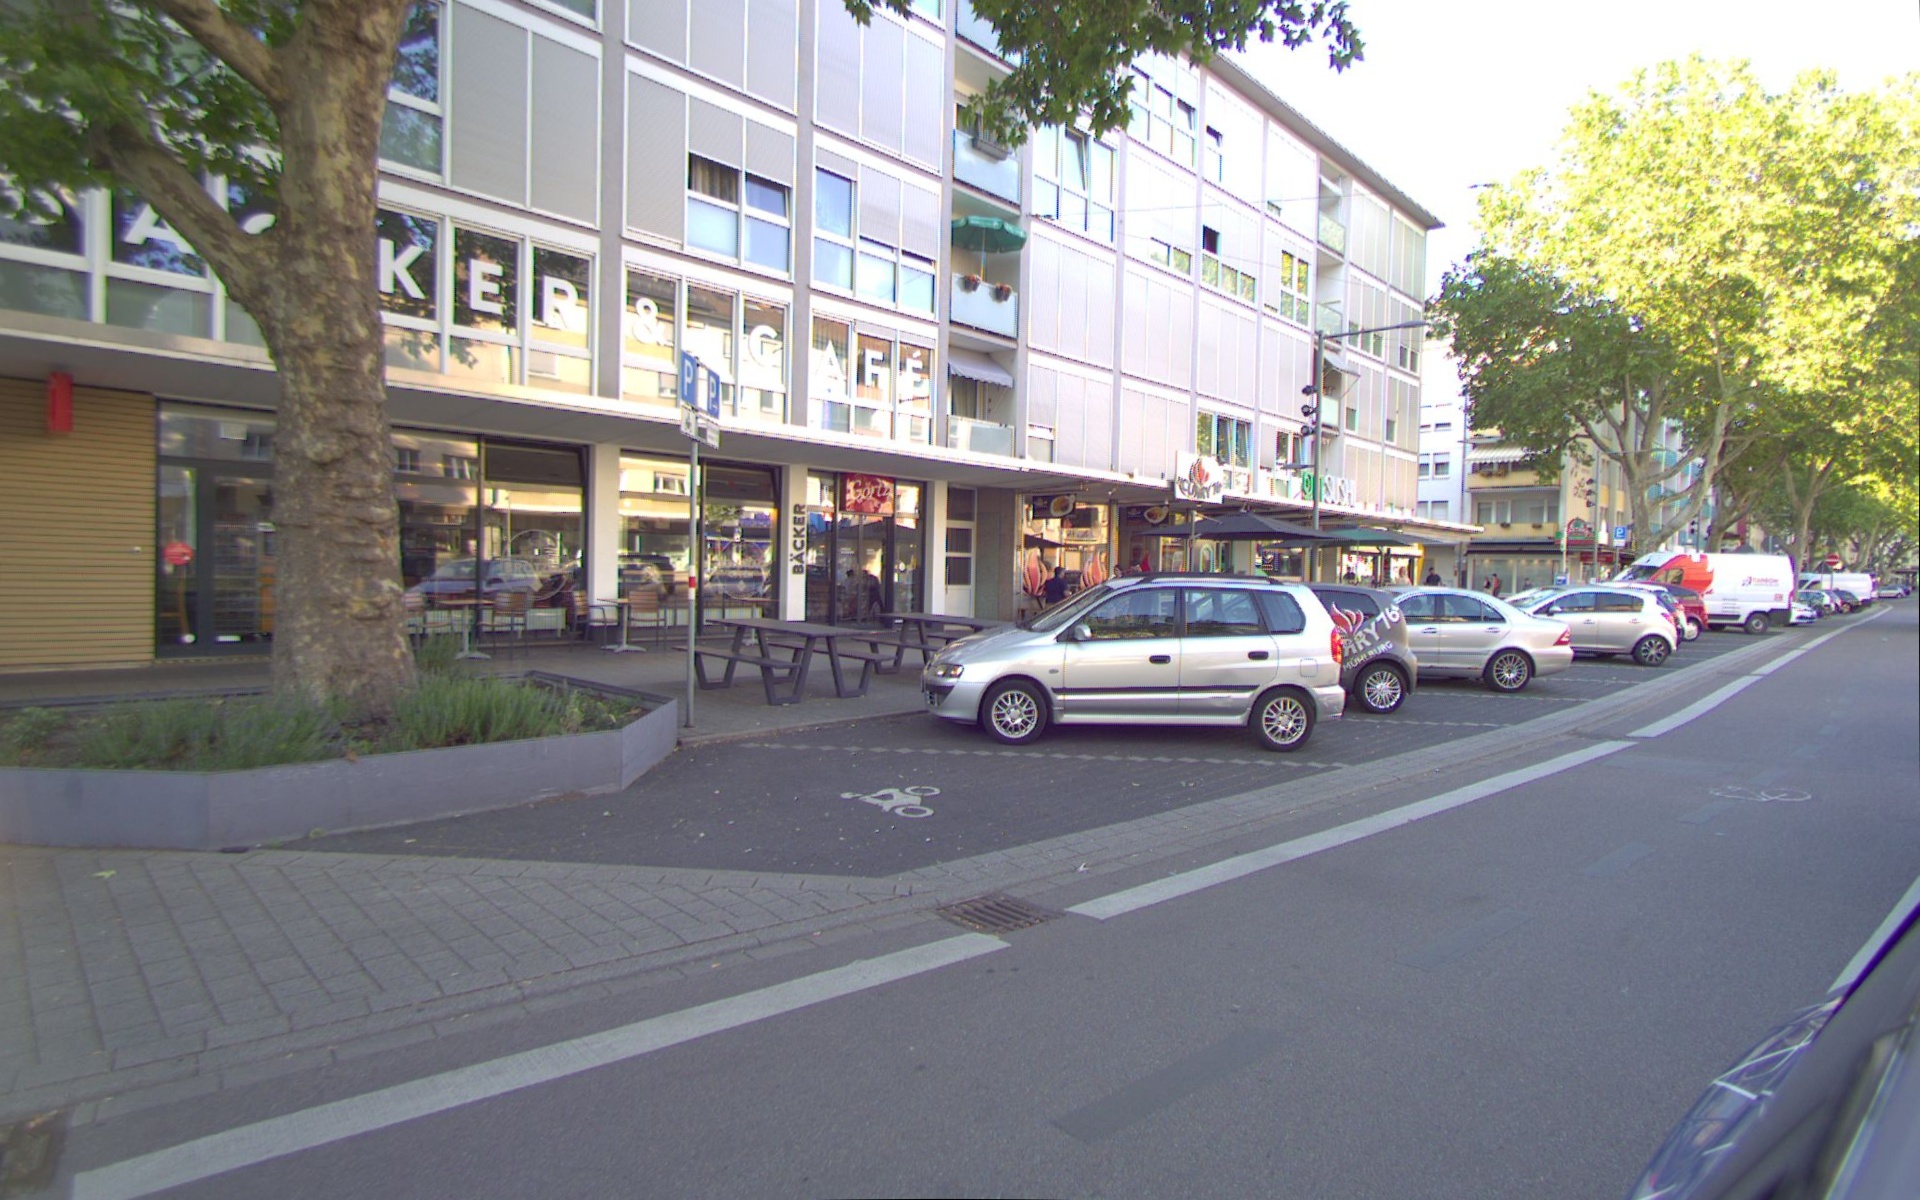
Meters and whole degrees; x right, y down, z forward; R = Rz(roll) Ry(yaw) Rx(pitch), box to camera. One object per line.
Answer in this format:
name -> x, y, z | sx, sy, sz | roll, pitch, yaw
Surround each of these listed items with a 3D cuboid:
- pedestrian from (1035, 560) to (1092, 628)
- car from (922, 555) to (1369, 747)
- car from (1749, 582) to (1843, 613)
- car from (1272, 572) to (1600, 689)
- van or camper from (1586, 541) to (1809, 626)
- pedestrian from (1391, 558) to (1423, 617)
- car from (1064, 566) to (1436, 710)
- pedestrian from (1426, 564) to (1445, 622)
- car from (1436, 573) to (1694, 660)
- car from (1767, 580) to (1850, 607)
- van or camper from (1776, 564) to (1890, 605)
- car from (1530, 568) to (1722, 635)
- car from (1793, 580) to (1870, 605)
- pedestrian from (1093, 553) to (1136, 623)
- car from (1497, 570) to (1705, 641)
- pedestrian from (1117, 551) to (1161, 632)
pedestrian -> 2.196, -0.137, 21.428 | 0.945, 1.379, 0.750 | 0, 2, -41
car -> 1.632, 0.429, 9.886 | 3.921, 1.626, 1.811 | 1, 2, -3
car -> 41.872, -0.153, 50.738 | 3.271, 1.363, 1.530 | 2, 3, 5
car -> 6.820, 0.401, 14.813 | 3.926, 1.453, 1.660 | 2, 3, 2
van or camper -> 23.323, -0.548, 32.194 | 5.366, 2.499, 1.998 | 1, 2, 5
pedestrian -> 12.613, -0.358, 28.563 | 0.537, 1.610, 0.676 | 5, 4, 44
car -> 3.387, 0.406, 12.343 | 3.921, 1.525, 1.811 | 1, 2, -3
pedestrian -> 16.853, -0.258, 35.894 | 0.547, 2.039, 0.571 | 0, 0, 31
car -> 11.741, 0.283, 19.862 | 3.929, 1.453, 1.659 | 2, 3, 5
car -> 48.449, -0.405, 57.852 | 3.271, 1.363, 1.530 | 2, 3, 5
van or camper -> 56.116, -1.041, 65.147 | 5.363, 2.499, 1.999 | 1, 2, 3
car -> 17.892, 0.012, 27.343 | 3.929, 1.582, 1.659 | 2, 3, 5
car -> 53.823, -0.479, 62.535 | 3.271, 1.363, 1.530 | 2, 3, 5
pedestrian -> 3.229, -0.256, 21.210 | 0.537, 1.417, 0.676 | 5, 4, 44
car -> 15.747, 0.107, 25.019 | 3.929, 1.541, 1.659 | 2, 3, 5
pedestrian -> 3.679, -0.183, 20.844 | 0.537, 1.610, 0.676 | 5, 4, 44
